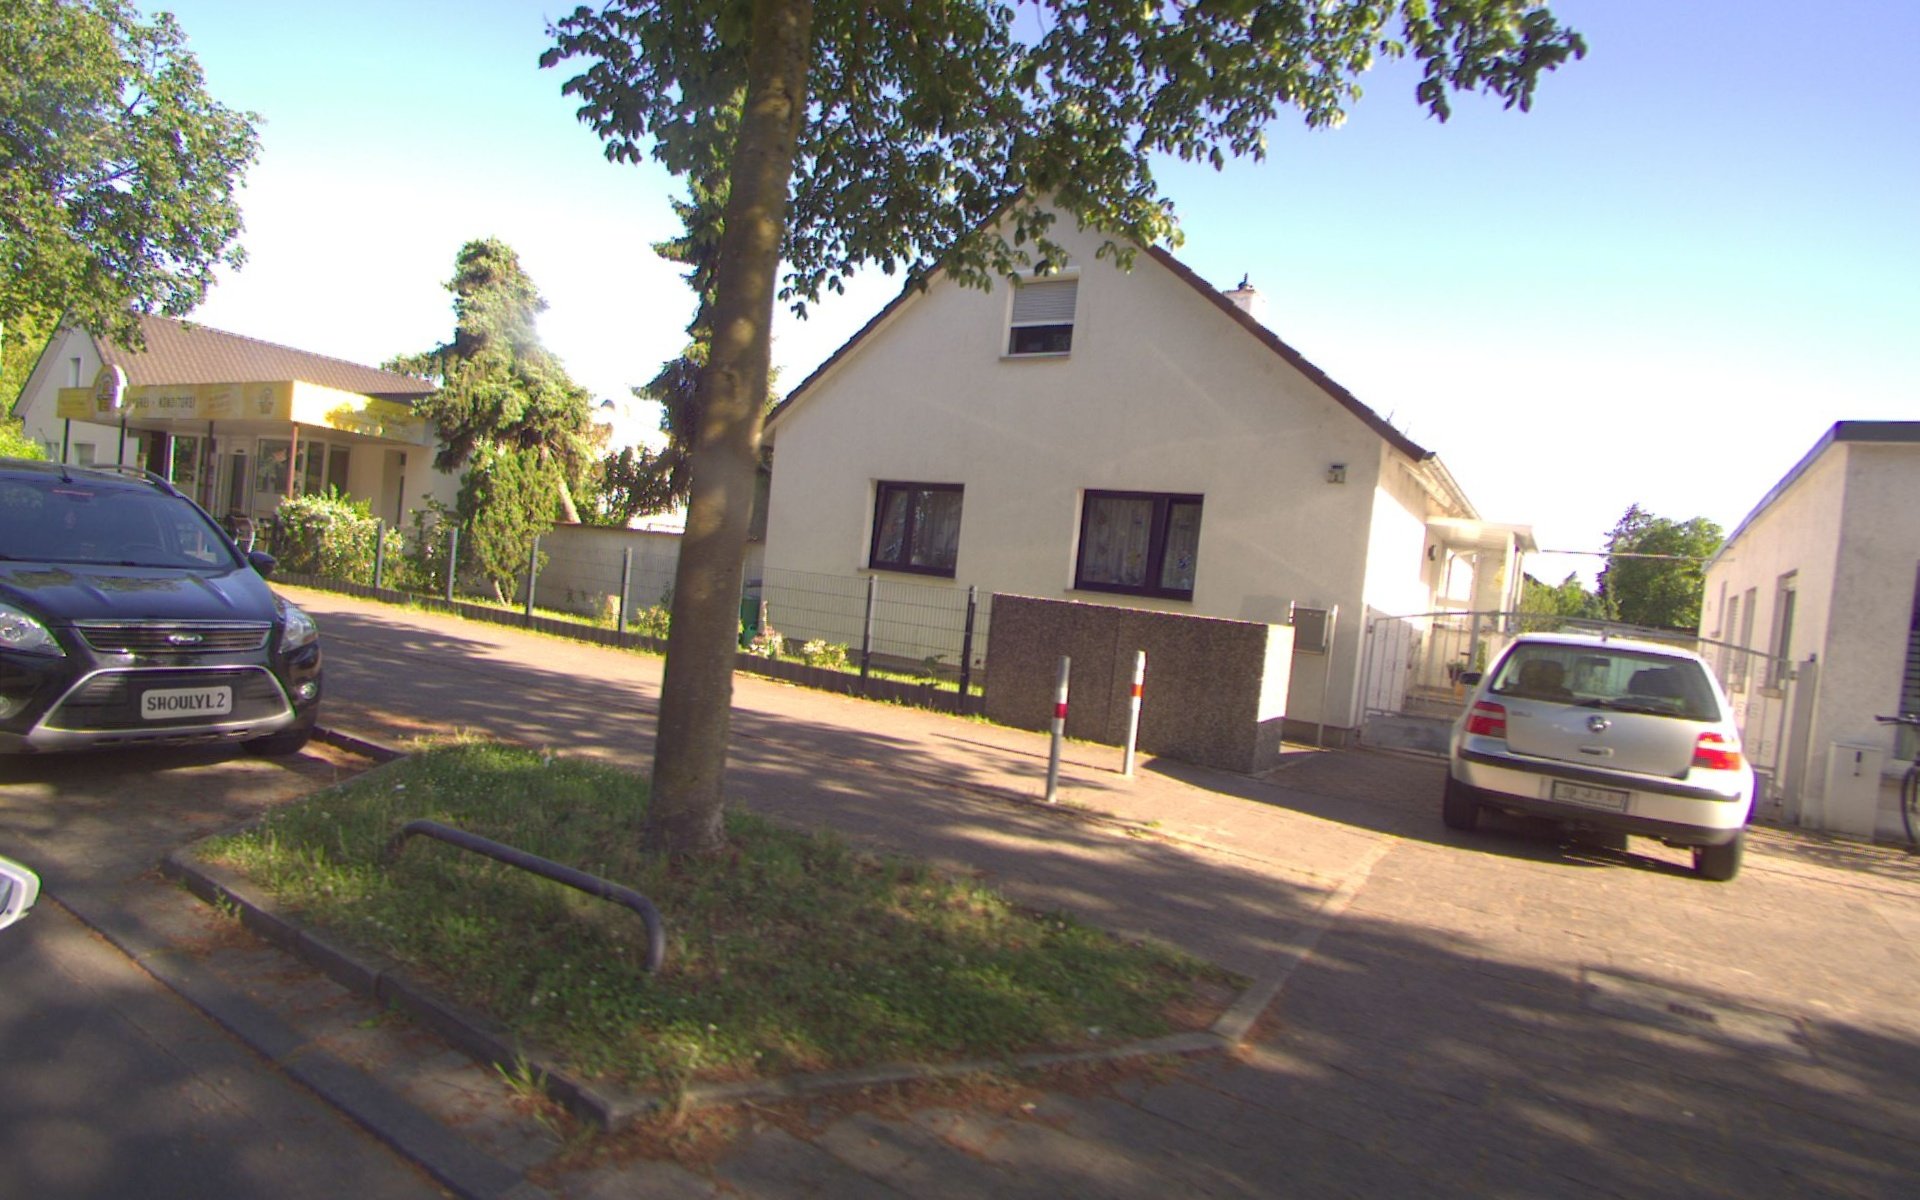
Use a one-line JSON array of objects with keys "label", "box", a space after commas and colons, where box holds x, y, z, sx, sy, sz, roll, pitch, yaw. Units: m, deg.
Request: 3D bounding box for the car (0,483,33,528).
[{"label": "car", "box": [-39.703, -4.008, 39.591, 1.967, 1.629, 4.292, 9, 0, 33]}]

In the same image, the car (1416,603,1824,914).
[{"label": "car", "box": [4.879, 0.927, 7.761, 1.870, 1.509, 3.987, 9, 3, 31]}]

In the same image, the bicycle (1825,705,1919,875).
[{"label": "bicycle", "box": [7.137, 1.393, 7.511, 0.566, 1.012, 1.924, 9, 3, 30]}]

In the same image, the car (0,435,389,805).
[{"label": "car", "box": [-5.713, -0.072, 6.251, 4.396, 1.647, 1.853, 6, 2, 32]}]

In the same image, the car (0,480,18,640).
[{"label": "car", "box": [-10.991, -0.563, 9.891, 3.825, 1.499, 1.696, 6, 3, 34]}]
